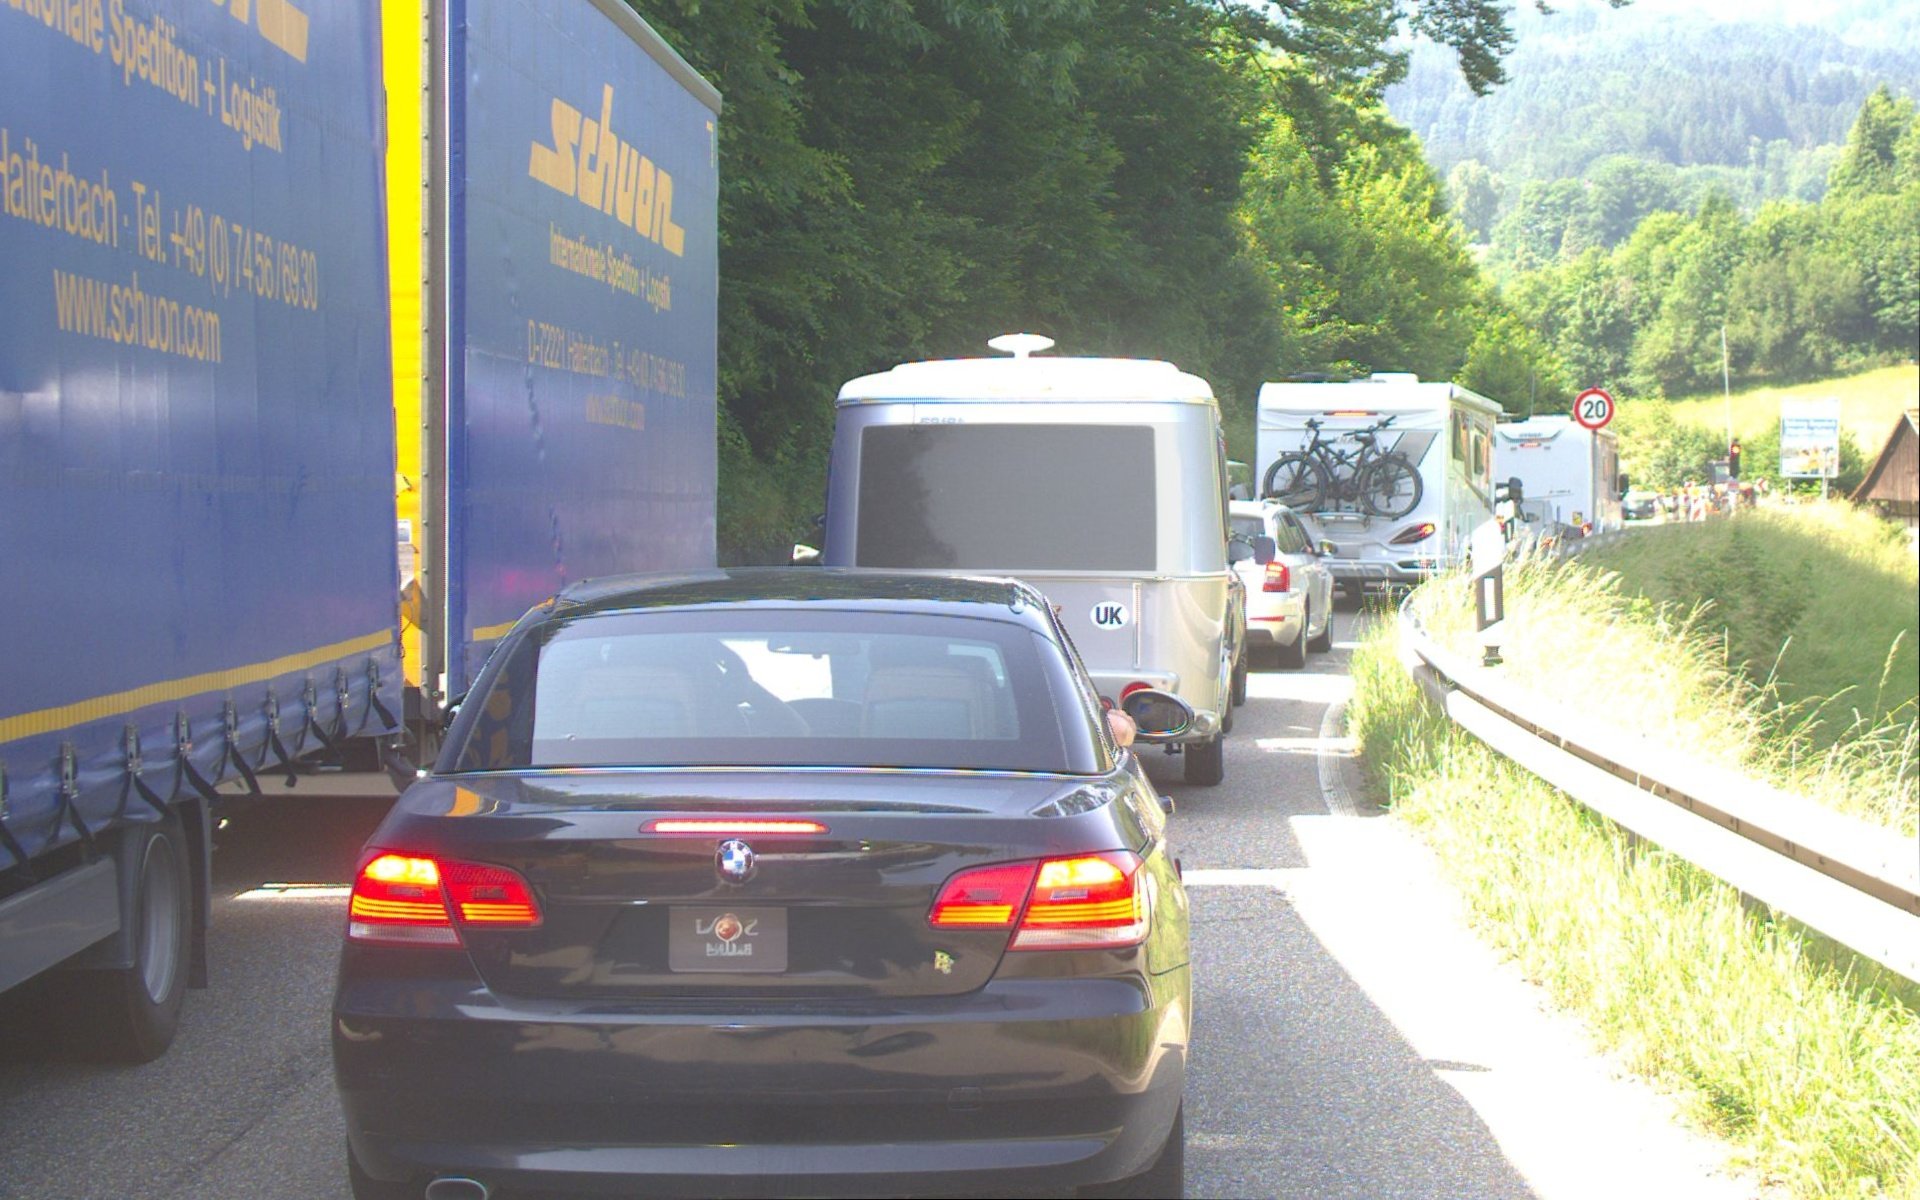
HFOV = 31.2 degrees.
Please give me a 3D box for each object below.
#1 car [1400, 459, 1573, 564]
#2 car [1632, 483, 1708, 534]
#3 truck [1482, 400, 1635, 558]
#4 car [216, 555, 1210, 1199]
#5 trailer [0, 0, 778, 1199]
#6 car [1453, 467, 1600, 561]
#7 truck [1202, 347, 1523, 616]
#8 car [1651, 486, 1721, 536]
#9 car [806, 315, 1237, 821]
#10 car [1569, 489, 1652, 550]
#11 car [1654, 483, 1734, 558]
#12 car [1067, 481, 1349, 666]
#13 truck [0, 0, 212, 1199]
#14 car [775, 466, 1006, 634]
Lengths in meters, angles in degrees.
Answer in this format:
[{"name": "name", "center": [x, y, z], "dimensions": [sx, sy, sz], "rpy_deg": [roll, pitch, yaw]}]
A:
[{"name": "car", "center": [8.087, -1.381, 52.549], "dimensions": [1.995, 1.459, 3.997], "rpy_deg": [3, 3, 17]}, {"name": "car", "center": [22.821, -2.928, 110.429], "dimensions": [1.995, 1.570, 3.997], "rpy_deg": [1, 1, 17]}, {"name": "truck", "center": [11.281, -2.201, 64.406], "dimensions": [2.239, 2.794, 6.228], "rpy_deg": [1, 1, 15]}, {"name": "car", "center": [-0.382, 0.602, 8.015], "dimensions": [1.771, 1.331, 3.767], "rpy_deg": [1, 2, 2]}, {"name": "trailer", "center": [-3.234, -1.106, 13.077], "dimensions": [3.260, 4.402, 15.315], "rpy_deg": [1, 2, 4]}, {"name": "car", "center": [9.607, -1.475, 58.097], "dimensions": [1.789, 1.459, 3.997], "rpy_deg": [3, 3, 18]}, {"name": "truck", "center": [5.156, -1.506, 42.929], "dimensions": [2.793, 2.987, 6.863], "rpy_deg": [3, 3, 16]}, {"name": "car", "center": [26.007, -3.187, 123.114], "dimensions": [1.995, 1.678, 3.996], "rpy_deg": [2, 1, 18]}, {"name": "car", "center": [0.479, -0.244, 18.527], "dimensions": [1.994, 2.345, 4.913], "rpy_deg": [1, 2, 5]}, {"name": "car", "center": [16.483, -2.021, 87.004], "dimensions": [1.907, 1.481, 3.998], "rpy_deg": [1, 1, 13]}, {"name": "car", "center": [20.506, -2.197, 95.945], "dimensions": [1.995, 1.919, 3.998], "rpy_deg": [4, 1, 13]}, {"name": "car", "center": [2.296, -0.289, 30.843], "dimensions": [1.994, 1.479, 3.998], "rpy_deg": [2, 2, 11]}, {"name": "truck", "center": [-3.576, -0.820, 5.671], "dimensions": [3.188, 4.381, 6.572], "rpy_deg": [1, 3, 1]}, {"name": "car", "center": [-0.655, -0.560, 35.521], "dimensions": [1.822, 1.579, 4.082], "rpy_deg": [2, 2, 6]}]
